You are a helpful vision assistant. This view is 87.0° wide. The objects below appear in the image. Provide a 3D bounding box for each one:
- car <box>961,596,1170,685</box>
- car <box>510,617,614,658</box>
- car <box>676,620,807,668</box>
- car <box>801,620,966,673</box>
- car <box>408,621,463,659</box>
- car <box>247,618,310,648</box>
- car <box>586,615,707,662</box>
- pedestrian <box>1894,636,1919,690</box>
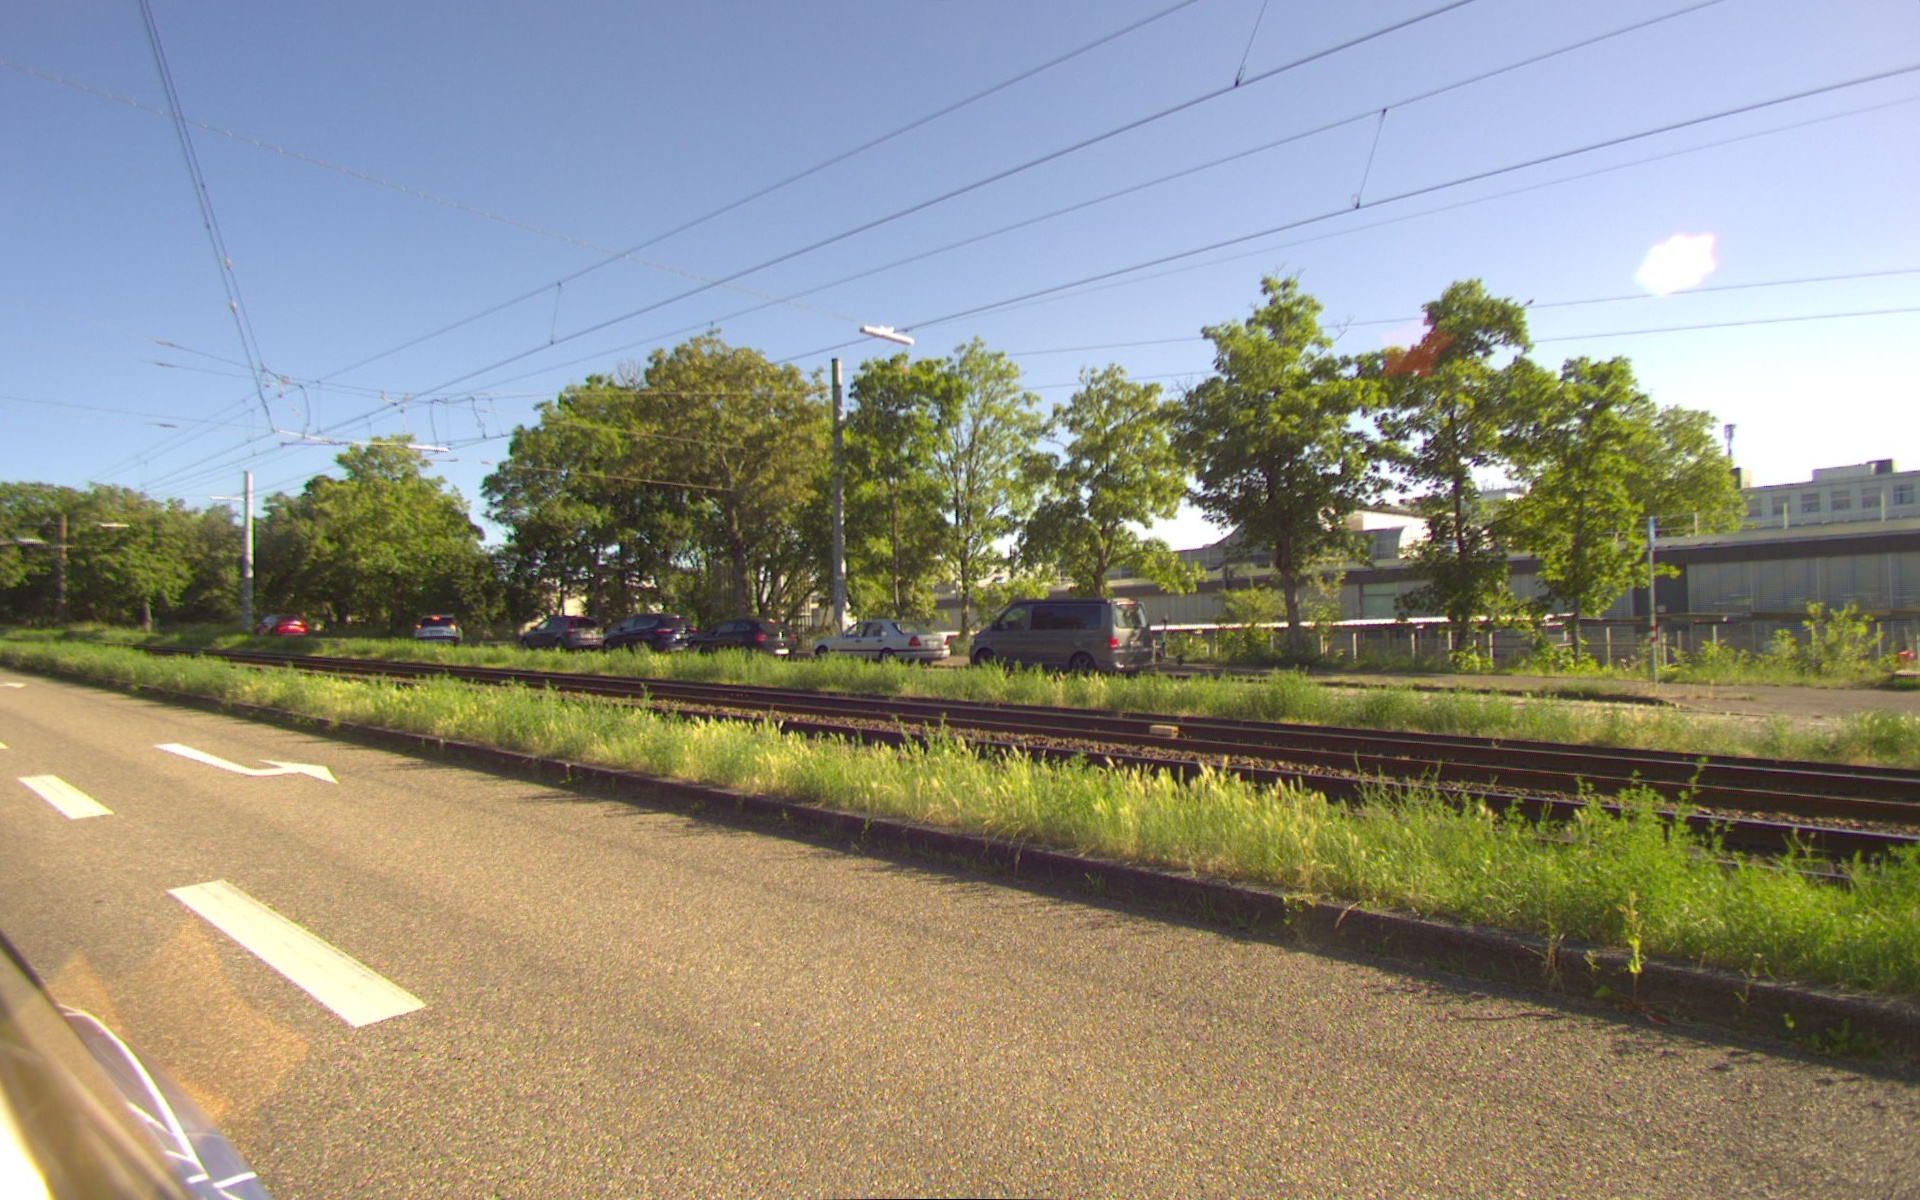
[{"bbox_3d":[2.497,0.955,24.749,4.684,1.949,2.178,-2,-1,42],"label":"car"},{"bbox_3d":[-16.263,1.515,41.264,4.557,1.575,2.103,-2,-1,41],"label":"car"},{"bbox_3d":[-7.239,1.421,33.235,4.486,1.437,1.935,-2,-1,42],"label":"car"},{"bbox_3d":[-2.262,1.310,29.227,4.612,1.391,2.103,-2,-1,40],"label":"car"},{"bbox_3d":[-23.073,1.724,44.629,1.829,1.569,4.170,-1,-1,-23],"label":"car"},{"bbox_3d":[-42.457,2.067,62.992,4.797,1.746,2.290,-2,-1,43],"label":"car"},{"bbox_3d":[-11.434,1.386,36.787,4.614,1.599,2.102,-2,-1,41],"label":"car"},{"bbox_3d":[23.535,1.543,25.019,0.435,1.310,0.441,-1,-2,-1],"label":"pedestrian"}]
